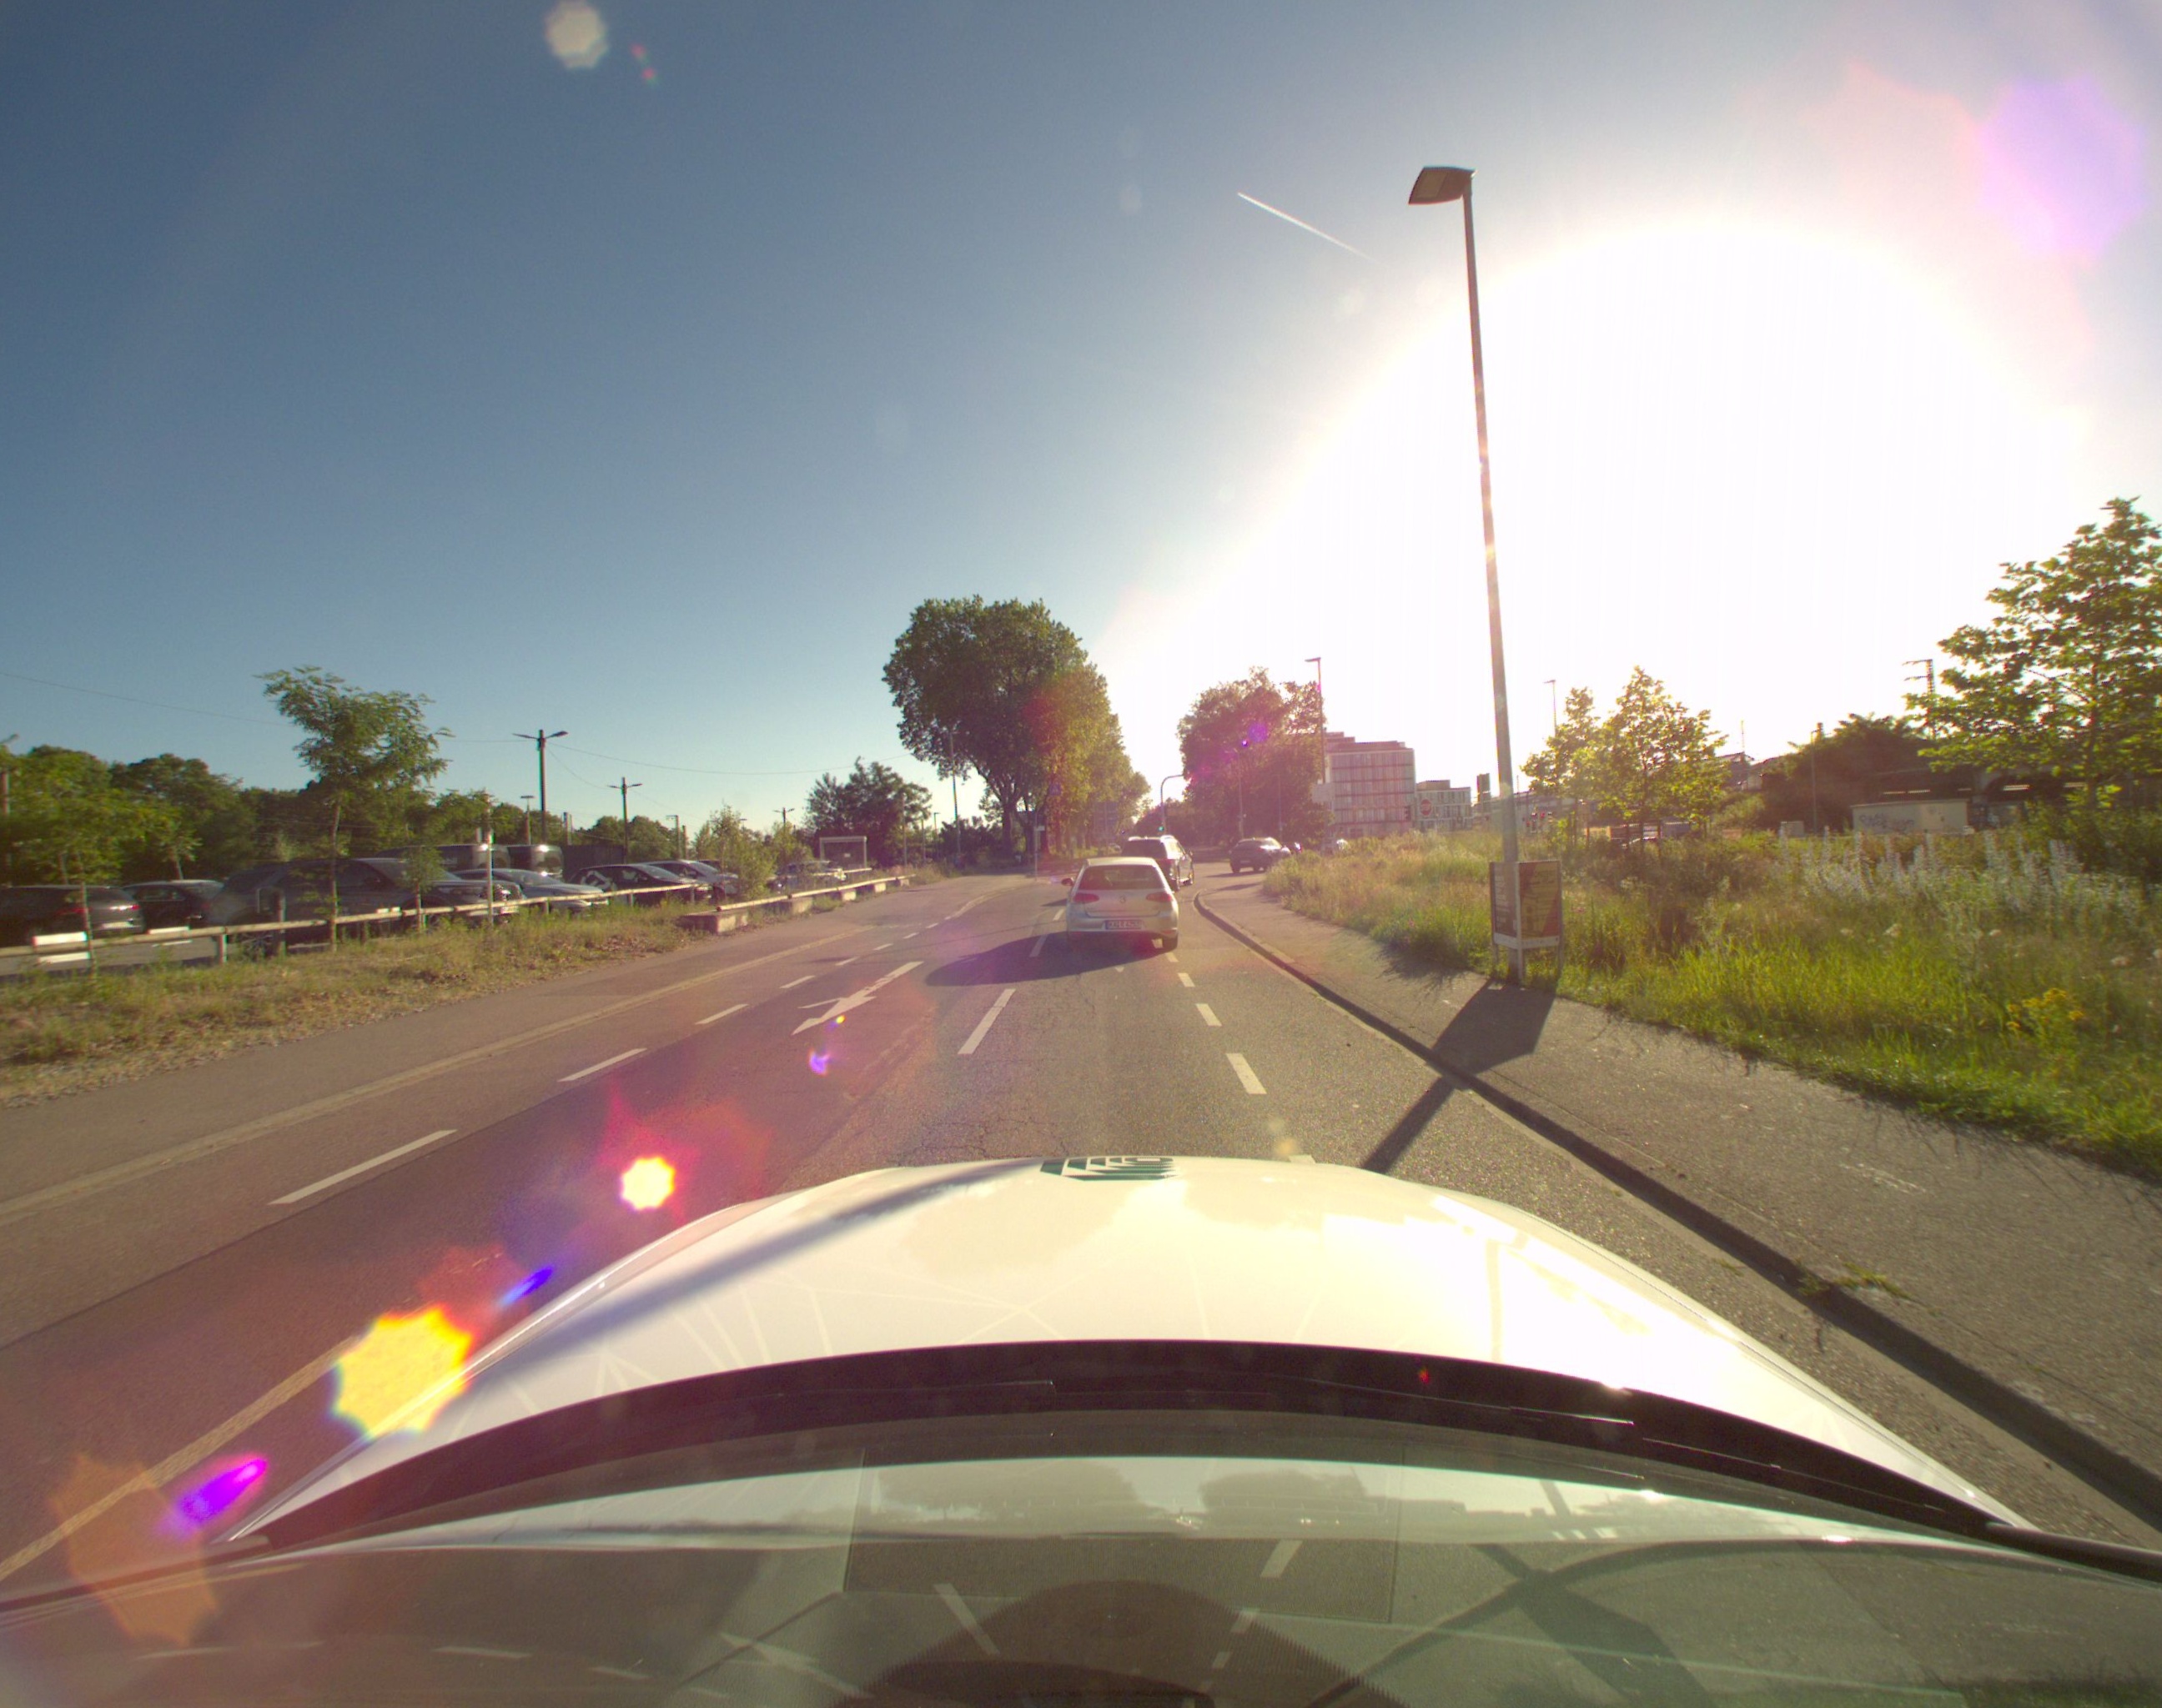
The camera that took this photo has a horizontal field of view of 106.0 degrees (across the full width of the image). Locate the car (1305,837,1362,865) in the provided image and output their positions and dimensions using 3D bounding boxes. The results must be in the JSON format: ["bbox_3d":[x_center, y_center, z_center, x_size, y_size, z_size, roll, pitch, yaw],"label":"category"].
[{"bbox_3d":[15.507,-0.174,49.955,1.880,1.596,4.025,-2,0,40],"label":"car"}]

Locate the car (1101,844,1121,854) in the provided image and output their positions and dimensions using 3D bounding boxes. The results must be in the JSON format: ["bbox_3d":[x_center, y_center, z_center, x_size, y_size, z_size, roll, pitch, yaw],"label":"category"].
[{"bbox_3d":[6.597,-1.096,180.734,3.949,2.013,2.012,-2,0,29],"label":"car"}]

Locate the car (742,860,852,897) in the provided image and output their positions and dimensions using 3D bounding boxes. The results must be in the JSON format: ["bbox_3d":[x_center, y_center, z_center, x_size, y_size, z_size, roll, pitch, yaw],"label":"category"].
[{"bbox_3d":[-13.286,1.127,38.265,4.410,1.557,1.878,-2,0,0],"label":"car"}]

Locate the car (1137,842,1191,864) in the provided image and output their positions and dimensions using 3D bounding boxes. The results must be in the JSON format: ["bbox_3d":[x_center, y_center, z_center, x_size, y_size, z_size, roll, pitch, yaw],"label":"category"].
[{"bbox_3d":[6.468,-0.064,63.662,2.009,1.596,3.956,-2,0,-36],"label":"car"}]

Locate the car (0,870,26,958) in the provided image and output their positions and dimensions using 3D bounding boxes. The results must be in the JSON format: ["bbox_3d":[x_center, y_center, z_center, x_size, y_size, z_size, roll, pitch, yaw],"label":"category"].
[{"bbox_3d":[-24.528,1.310,16.303,4.307,1.791,1.878,-2,0,0],"label":"car"}]

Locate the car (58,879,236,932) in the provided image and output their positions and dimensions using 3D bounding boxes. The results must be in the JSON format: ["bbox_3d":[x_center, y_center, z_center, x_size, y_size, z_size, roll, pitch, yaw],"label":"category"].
[{"bbox_3d":[-30.900,1.686,27.028,3.972,1.594,1.707,-2,-1,1],"label":"car"}]

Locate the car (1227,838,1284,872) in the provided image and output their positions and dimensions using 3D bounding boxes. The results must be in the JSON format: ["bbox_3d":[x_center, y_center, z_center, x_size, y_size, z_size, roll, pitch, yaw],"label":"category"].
[{"bbox_3d":[8.632,0.027,39.941,1.897,1.529,4.432,-2,0,23],"label":"car"}]

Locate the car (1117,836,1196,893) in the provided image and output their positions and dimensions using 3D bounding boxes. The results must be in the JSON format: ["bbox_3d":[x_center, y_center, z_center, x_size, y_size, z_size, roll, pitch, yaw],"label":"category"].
[{"bbox_3d":[2.686,0.307,28.023,1.805,1.769,4.649,-2,0,16],"label":"car"}]

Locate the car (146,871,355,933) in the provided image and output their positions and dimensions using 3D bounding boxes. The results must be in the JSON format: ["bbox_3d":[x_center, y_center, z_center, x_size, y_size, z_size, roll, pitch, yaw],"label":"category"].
[{"bbox_3d":[-24.467,1.382,24.109,4.193,1.618,1.878,-2,0,0],"label":"car"}]

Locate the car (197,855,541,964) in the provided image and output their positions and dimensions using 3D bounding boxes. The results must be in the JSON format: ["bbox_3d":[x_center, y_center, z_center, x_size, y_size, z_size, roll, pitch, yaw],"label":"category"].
[{"bbox_3d":[-13.577,1.002,15.766,4.829,1.835,2.000,-2,0,0],"label":"car"}]

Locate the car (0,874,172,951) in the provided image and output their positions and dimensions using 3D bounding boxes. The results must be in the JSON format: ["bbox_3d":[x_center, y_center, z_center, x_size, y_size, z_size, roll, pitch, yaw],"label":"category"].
[{"bbox_3d":[-24.484,1.362,19.037,4.307,1.618,1.878,-2,0,0],"label":"car"}]

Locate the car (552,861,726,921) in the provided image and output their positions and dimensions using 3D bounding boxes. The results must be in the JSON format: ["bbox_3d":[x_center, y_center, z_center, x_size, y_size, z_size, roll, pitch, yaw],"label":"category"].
[{"bbox_3d":[-13.017,1.068,24.158,4.074,1.557,1.878,-2,0,0],"label":"car"}]

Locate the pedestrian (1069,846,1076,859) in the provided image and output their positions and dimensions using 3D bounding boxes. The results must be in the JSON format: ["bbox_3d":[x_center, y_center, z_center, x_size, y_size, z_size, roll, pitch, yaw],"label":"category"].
[{"bbox_3d":[-0.937,-0.169,91.937,0.676,1.415,0.685,-2,0,2],"label":"pedestrian"}]

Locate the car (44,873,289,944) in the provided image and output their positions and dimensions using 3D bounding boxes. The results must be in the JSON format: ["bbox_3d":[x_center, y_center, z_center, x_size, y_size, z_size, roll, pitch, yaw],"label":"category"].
[{"bbox_3d":[-24.073,1.401,21.559,4.307,1.618,1.878,-2,0,0],"label":"car"}]

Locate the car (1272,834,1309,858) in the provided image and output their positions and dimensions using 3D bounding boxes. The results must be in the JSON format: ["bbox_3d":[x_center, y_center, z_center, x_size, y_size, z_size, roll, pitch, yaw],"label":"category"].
[{"bbox_3d":[16.506,-0.611,64.253,1.986,1.728,4.002,-2,-1,2],"label":"car"}]

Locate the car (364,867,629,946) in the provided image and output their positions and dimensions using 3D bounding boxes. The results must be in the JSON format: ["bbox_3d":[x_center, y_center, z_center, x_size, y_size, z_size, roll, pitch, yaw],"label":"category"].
[{"bbox_3d":[-13.292,1.157,18.742,4.579,1.557,2.000,-2,0,0],"label":"car"}]

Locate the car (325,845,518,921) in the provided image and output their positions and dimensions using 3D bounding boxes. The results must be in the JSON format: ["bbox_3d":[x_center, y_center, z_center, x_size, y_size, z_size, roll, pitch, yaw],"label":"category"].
[{"bbox_3d":[-23.493,0.984,29.179,4.910,2.459,2.320,-2,0,0],"label":"car"}]

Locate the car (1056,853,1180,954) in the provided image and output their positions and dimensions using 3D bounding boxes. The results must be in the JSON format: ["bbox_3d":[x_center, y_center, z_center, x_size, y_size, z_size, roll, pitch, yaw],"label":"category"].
[{"bbox_3d":[0.690,0.724,13.891,1.782,1.420,4.005,-2,0,4],"label":"car"}]

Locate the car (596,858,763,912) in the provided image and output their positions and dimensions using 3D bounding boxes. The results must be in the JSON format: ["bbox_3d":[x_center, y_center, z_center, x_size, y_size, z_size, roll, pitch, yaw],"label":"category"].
[{"bbox_3d":[-13.200,0.996,26.968,4.527,1.557,1.878,-2,0,0],"label":"car"}]

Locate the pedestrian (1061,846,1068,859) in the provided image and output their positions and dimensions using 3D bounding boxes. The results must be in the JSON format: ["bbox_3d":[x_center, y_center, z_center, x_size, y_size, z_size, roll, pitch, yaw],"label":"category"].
[{"bbox_3d":[-1.863,-0.139,92.135,0.676,1.415,0.685,-2,0,2],"label":"pedestrian"}]

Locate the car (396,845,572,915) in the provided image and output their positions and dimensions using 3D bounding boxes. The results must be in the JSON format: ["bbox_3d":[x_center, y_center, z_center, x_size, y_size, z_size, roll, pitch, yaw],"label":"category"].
[{"bbox_3d":[-23.203,0.974,31.847,5.079,2.459,2.320,-2,0,0],"label":"car"}]
